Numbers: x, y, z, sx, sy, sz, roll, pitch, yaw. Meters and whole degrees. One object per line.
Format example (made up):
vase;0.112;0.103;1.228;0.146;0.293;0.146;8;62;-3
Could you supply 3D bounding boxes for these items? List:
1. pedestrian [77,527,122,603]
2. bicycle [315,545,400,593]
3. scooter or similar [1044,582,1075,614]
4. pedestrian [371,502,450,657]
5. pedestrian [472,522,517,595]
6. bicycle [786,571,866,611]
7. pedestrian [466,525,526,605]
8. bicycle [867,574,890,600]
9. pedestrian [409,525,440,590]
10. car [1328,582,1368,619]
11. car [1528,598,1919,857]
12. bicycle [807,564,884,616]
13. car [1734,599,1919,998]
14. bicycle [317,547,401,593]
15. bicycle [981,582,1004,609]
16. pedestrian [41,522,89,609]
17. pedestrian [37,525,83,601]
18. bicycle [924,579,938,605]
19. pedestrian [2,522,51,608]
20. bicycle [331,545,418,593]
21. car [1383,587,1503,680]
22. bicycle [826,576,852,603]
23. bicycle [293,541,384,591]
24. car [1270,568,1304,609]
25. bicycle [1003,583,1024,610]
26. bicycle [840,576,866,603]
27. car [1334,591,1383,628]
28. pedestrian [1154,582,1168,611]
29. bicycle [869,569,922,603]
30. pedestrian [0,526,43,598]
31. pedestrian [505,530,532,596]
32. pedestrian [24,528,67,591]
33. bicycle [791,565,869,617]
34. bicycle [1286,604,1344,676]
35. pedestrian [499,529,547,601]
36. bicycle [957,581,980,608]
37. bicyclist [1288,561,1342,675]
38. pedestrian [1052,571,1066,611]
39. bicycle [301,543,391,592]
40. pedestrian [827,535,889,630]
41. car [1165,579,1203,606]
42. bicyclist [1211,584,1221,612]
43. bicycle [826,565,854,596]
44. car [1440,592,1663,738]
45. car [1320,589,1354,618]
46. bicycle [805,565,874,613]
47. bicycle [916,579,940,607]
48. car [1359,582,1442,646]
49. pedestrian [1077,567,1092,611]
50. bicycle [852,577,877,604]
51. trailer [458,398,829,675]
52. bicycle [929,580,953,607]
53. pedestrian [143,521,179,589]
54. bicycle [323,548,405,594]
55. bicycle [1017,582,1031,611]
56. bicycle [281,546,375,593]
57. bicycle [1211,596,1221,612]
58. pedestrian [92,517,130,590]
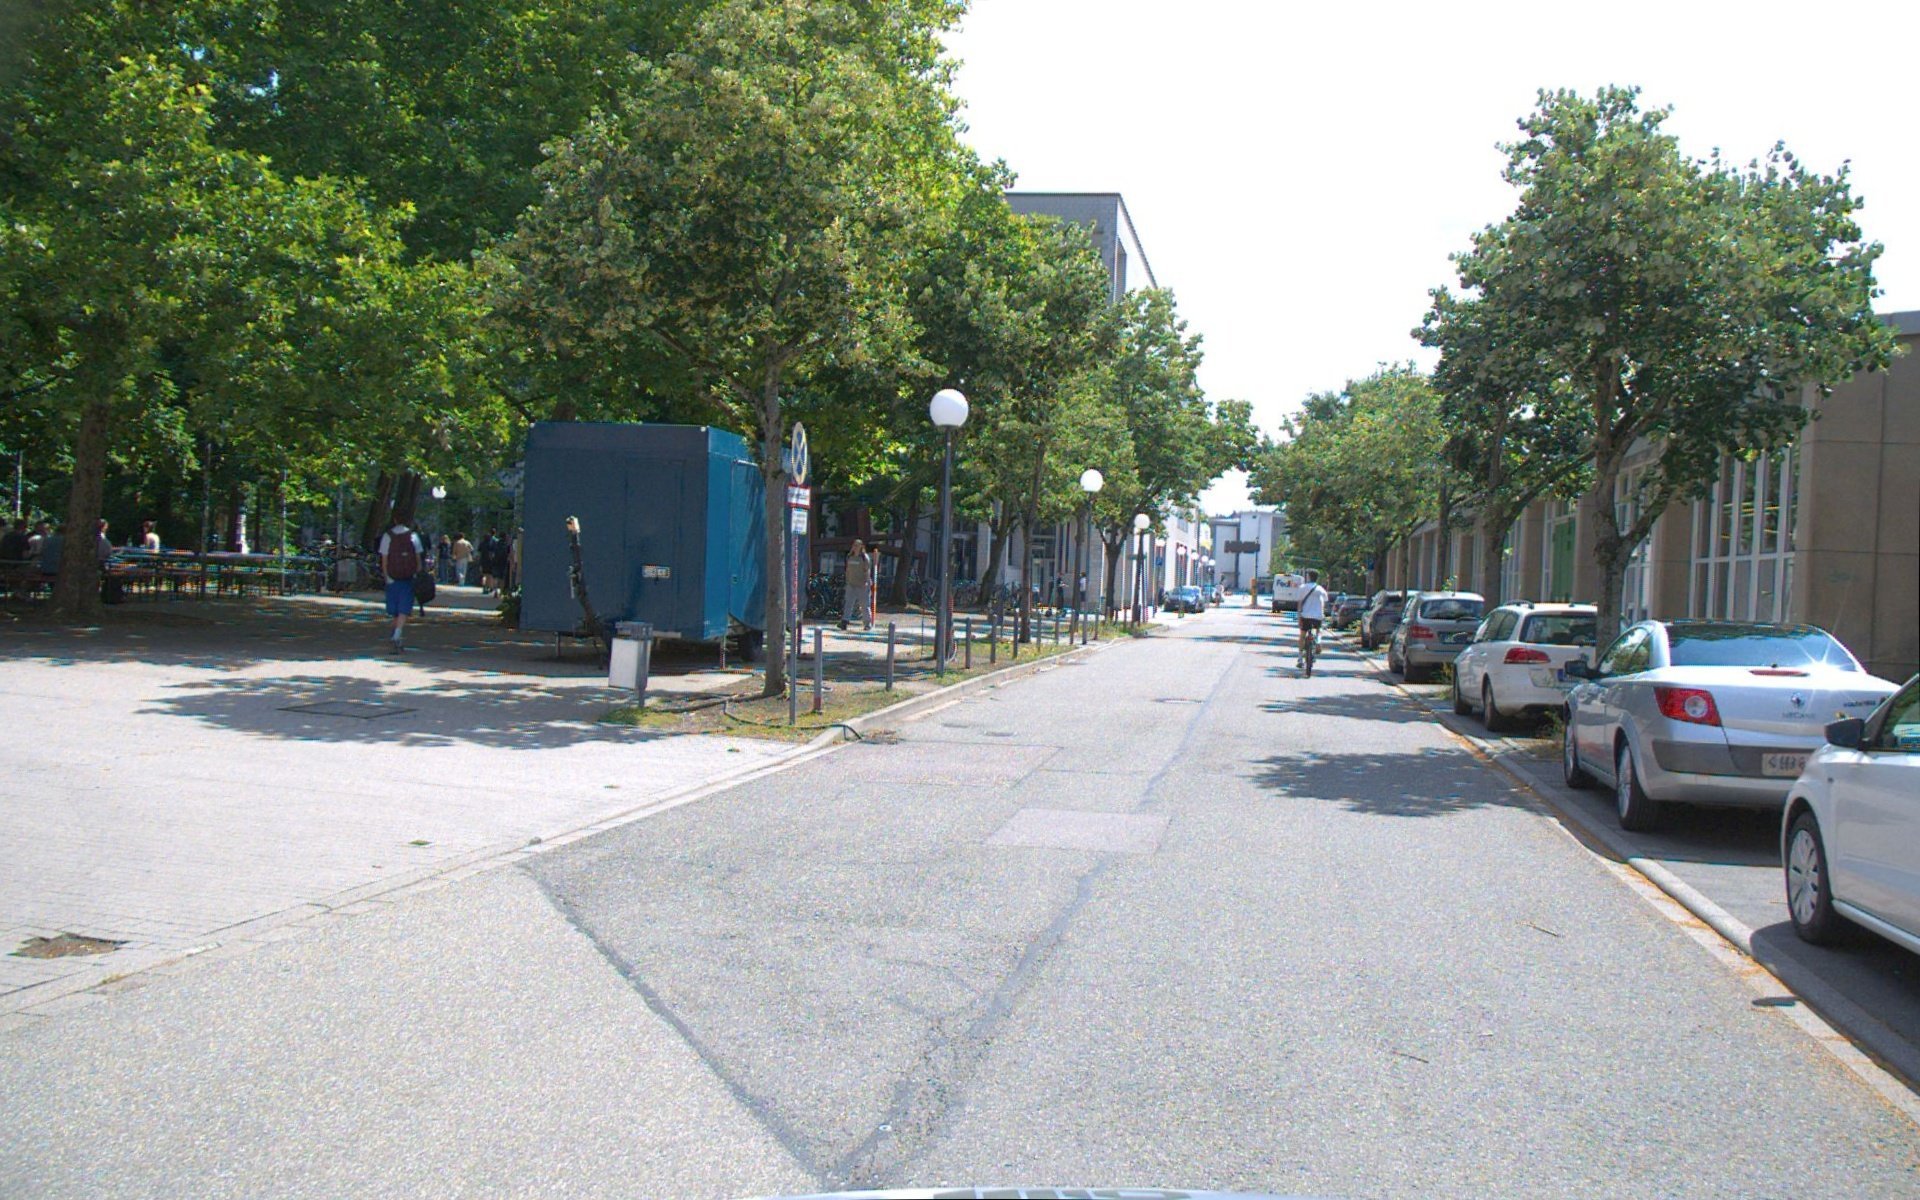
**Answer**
pedestrian;-14.932;-0.615;28.714;0.585;1.254;0.738;3;3;-23
bicycle;-15.521;-0.794;42.622;1.966;1.138;0.585;2;1;2
scooter or similar;3.827;-0.073;63.367;1.318;1.196;0.334;3;1;-44
pedestrian;-6.927;-0.273;20.842;0.838;1.867;0.874;3;3;-20
pedestrian;-13.272;-1.178;47.141;0.815;1.981;0.840;4;1;-42
bicycle;-3.821;-0.257;47.172;2.114;1.026;0.674;3;1;-19
pedestrian;-12.264;-0.922;43.692;1.115;1.981;0.879;4;1;-42
bicycle;-3.363;-0.544;68.178;0.465;1.050;1.852;3;1;11
pedestrian;-14.255;-1.135;44.022;0.619;1.699;0.728;3;1;-11
car;17.657;0.032;75.407;1.582;1.565;3.783;3;1;11
car;5.315;0.758;11.884;1.611;1.414;3.993;1;1;9
bicycle;-3.176;-0.284;45.880;2.015;1.255;0.808;5;1;-7
car;4.419;0.775;6.298;1.553;1.492;3.992;2;0;9
bicycle;-15.766;-0.791;43.410;1.966;1.138;0.585;2;1;2
bicycle;1.380;-0.187;69.972;0.540;1.105;1.975;4;1;11
pedestrian;-15.049;-0.589;27.833;0.585;1.392;0.738;3;3;-23
pedestrian;-15.510;-0.647;28.512;0.585;1.254;0.738;3;3;-23
bicycle;-1.143;-0.318;65.730;0.465;0.982;1.657;3;1;0
pedestrian;-15.783;-0.598;27.968;0.585;1.392;0.699;3;3;-23
bicycle;-14.790;-0.778;41.822;1.966;1.138;0.585;2;1;2
car;9.093;0.579;31.403;1.668;1.601;4.144;1;1;9
bicycle;-5.191;-0.466;71.147;0.540;1.105;1.975;4;1;11
bicycle;-15.104;-0.819;40.236;1.966;1.138;0.585;2;1;2
car;22.056;-0.784;111.677;2.039;2.583;4.319;4;1;11
bicycle;2.257;-0.154;69.602;0.540;1.105;1.975;4;1;11
bicycle;-4.599;-0.440;71.057;0.540;1.105;1.975;4;1;11
car;16.814;0.372;69.920;1.742;1.502;4.466;1;1;11
pedestrian;12.401;-0.229;102.001;0.636;1.731;0.889;3;1;0
bicycle;-2.526;-0.531;64.882;1.985;1.275;0.584;1;1;-22
pedestrian;-17.378;-0.705;30.395;0.557;1.272;0.767;3;1;-1
pedestrian;-13.284;-1.118;49.766;0.583;1.937;0.511;2;1;-35
pedestrian;-18.154;-0.792;32.841;0.383;1.215;0.731;3;1;2
bicycle;-3.527;-0.250;44.810;2.015;1.256;0.808;4;1;-7
bicycle;6.571;0.711;30.709;0.863;1.220;2.752;3;1;9
pedestrian;-12.597;-1.014;47.722;0.913;1.981;0.879;4;1;-42
bicycle;0.367;-0.224;70.474;0.540;1.105;1.975;4;1;11
bicyclist;6.578;0.320;30.670;0.855;2.048;0.850;3;1;10
pedestrian;4.644;-0.422;77.630;0.434;1.806;0.448;3;1;-19
bicycle;-15.238;-0.810;41.071;1.966;1.138;0.585;2;1;2
pedestrian;-2.225;-0.379;36.181;0.899;1.988;0.892;5;1;21
car;12.799;-0.424;94.484;1.729;1.452;4.238;3;0;12
bicyclist;18.672;-0.163;120.597;0.696;2.049;1.020;1;0;9
bicycle;-5.128;-0.835;70.656;0.514;1.274;2.384;2;1;12
car;7.028;0.683;20.105;1.689;1.492;4.676;2;1;9
car;22.206;0.193;97.554;1.819;1.601;4.004;1;0;11
bicycle;-3.159;-0.287;43.292;1.739;1.151;0.458;3;1;-7
bicycle;-1.355;-0.304;70.399;0.540;1.105;1.975;4;1;11
car;12.340;0.392;46.564;1.783;1.693;4.588;1;0;9
pedestrian;5.765;-0.507;76.604;0.406;1.975;0.660;3;1;-18
bicycle;-4.073;-0.421;70.795;0.540;1.105;1.975;4;1;11
trailer;-3.967;-0.776;22.372;2.639;3.078;6.272;4;1;11
bicycle;-0.800;-0.279;70.357;0.540;1.105;1.975;4;1;11
pedestrian;-17.350;-0.976;35.921;0.495;1.447;0.460;3;1;1
bicycle;-15.932;-0.780;44.223;1.966;1.138;0.585;2;1;2
bicycle;2.427;-0.142;63.166;0.374;1.043;1.815;3;1;-1
bicycle;-14.998;-0.718;39.257;1.966;1.025;0.585;2;1;2
bicycle;18.652;0.270;120.590;0.670;1.149;1.890;2;1;9
pedestrian;-18.404;-0.999;35.845;0.495;1.549;0.474;3;1;0
